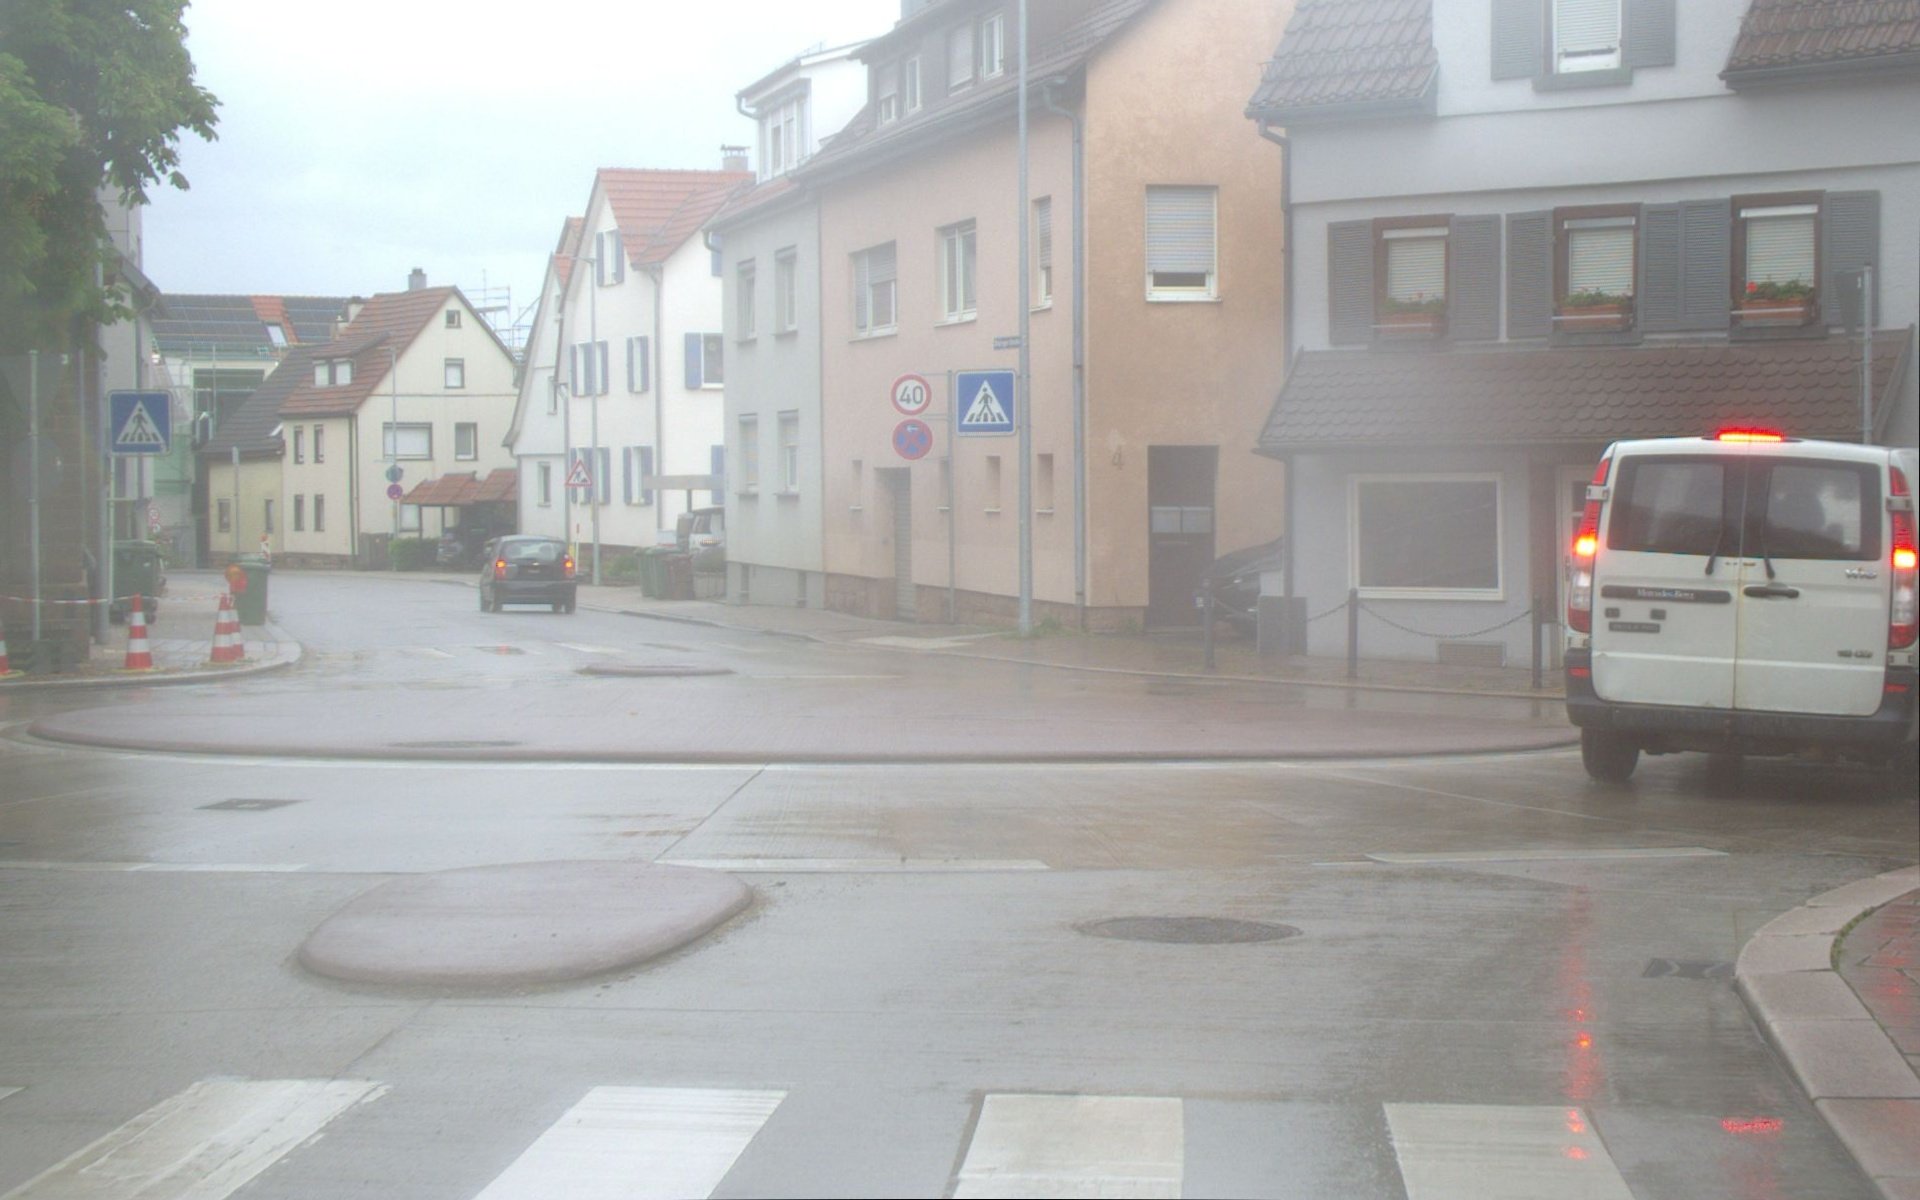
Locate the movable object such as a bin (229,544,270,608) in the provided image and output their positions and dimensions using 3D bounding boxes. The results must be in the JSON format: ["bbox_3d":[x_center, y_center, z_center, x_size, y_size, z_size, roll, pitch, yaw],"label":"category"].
[{"bbox_3d":[-13.091,-0.448,63.340,0.654,1.165,0.782,1,0,-17],"label":"movable object such as a bin"}]

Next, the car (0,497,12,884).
[{"bbox_3d":[-4.400,0.415,11.298,1.786,1.502,4.470,0,2,-6],"label":"car"}]

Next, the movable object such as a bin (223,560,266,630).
[{"bbox_3d":[-12.143,-0.089,58.354,0.626,1.169,0.762,1,0,-17],"label":"movable object such as a bin"}]

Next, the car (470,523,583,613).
[{"bbox_3d":[-8.350,-0.594,66.006,1.972,1.674,4.069,0,0,-10],"label":"car"}]

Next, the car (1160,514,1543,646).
[{"bbox_3d":[4.565,-0.231,40.274,3.986,1.481,2.001,0,0,-18],"label":"car"}]

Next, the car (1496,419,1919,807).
[{"bbox_3d":[4.744,0.054,19.452,2.155,1.892,4.919,0,0,24],"label":"car"}]
